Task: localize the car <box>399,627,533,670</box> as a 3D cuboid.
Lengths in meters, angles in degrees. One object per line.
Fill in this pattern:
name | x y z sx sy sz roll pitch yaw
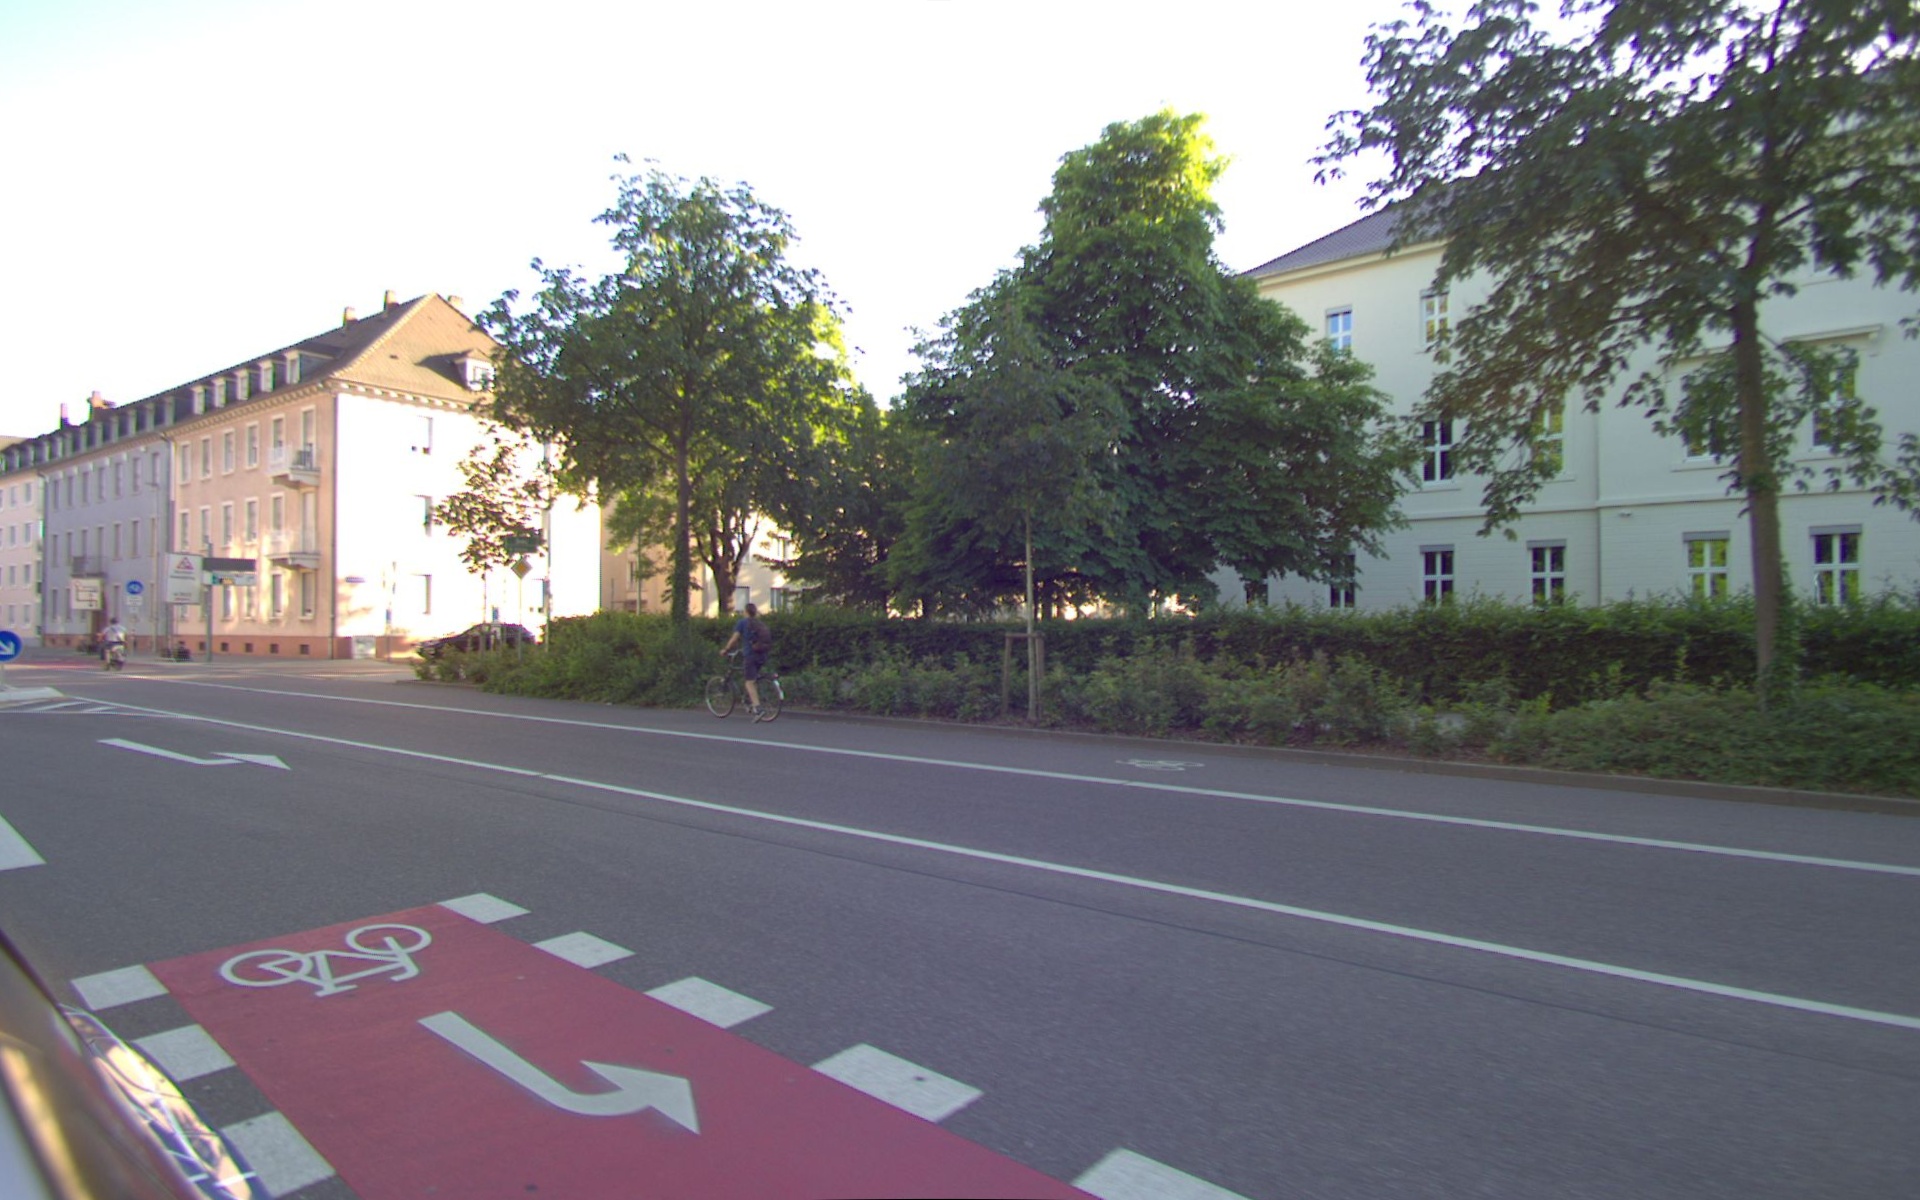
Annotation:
car | -20.310 1.968 41.761 2.060 1.691 4.526 -2 -3 41
